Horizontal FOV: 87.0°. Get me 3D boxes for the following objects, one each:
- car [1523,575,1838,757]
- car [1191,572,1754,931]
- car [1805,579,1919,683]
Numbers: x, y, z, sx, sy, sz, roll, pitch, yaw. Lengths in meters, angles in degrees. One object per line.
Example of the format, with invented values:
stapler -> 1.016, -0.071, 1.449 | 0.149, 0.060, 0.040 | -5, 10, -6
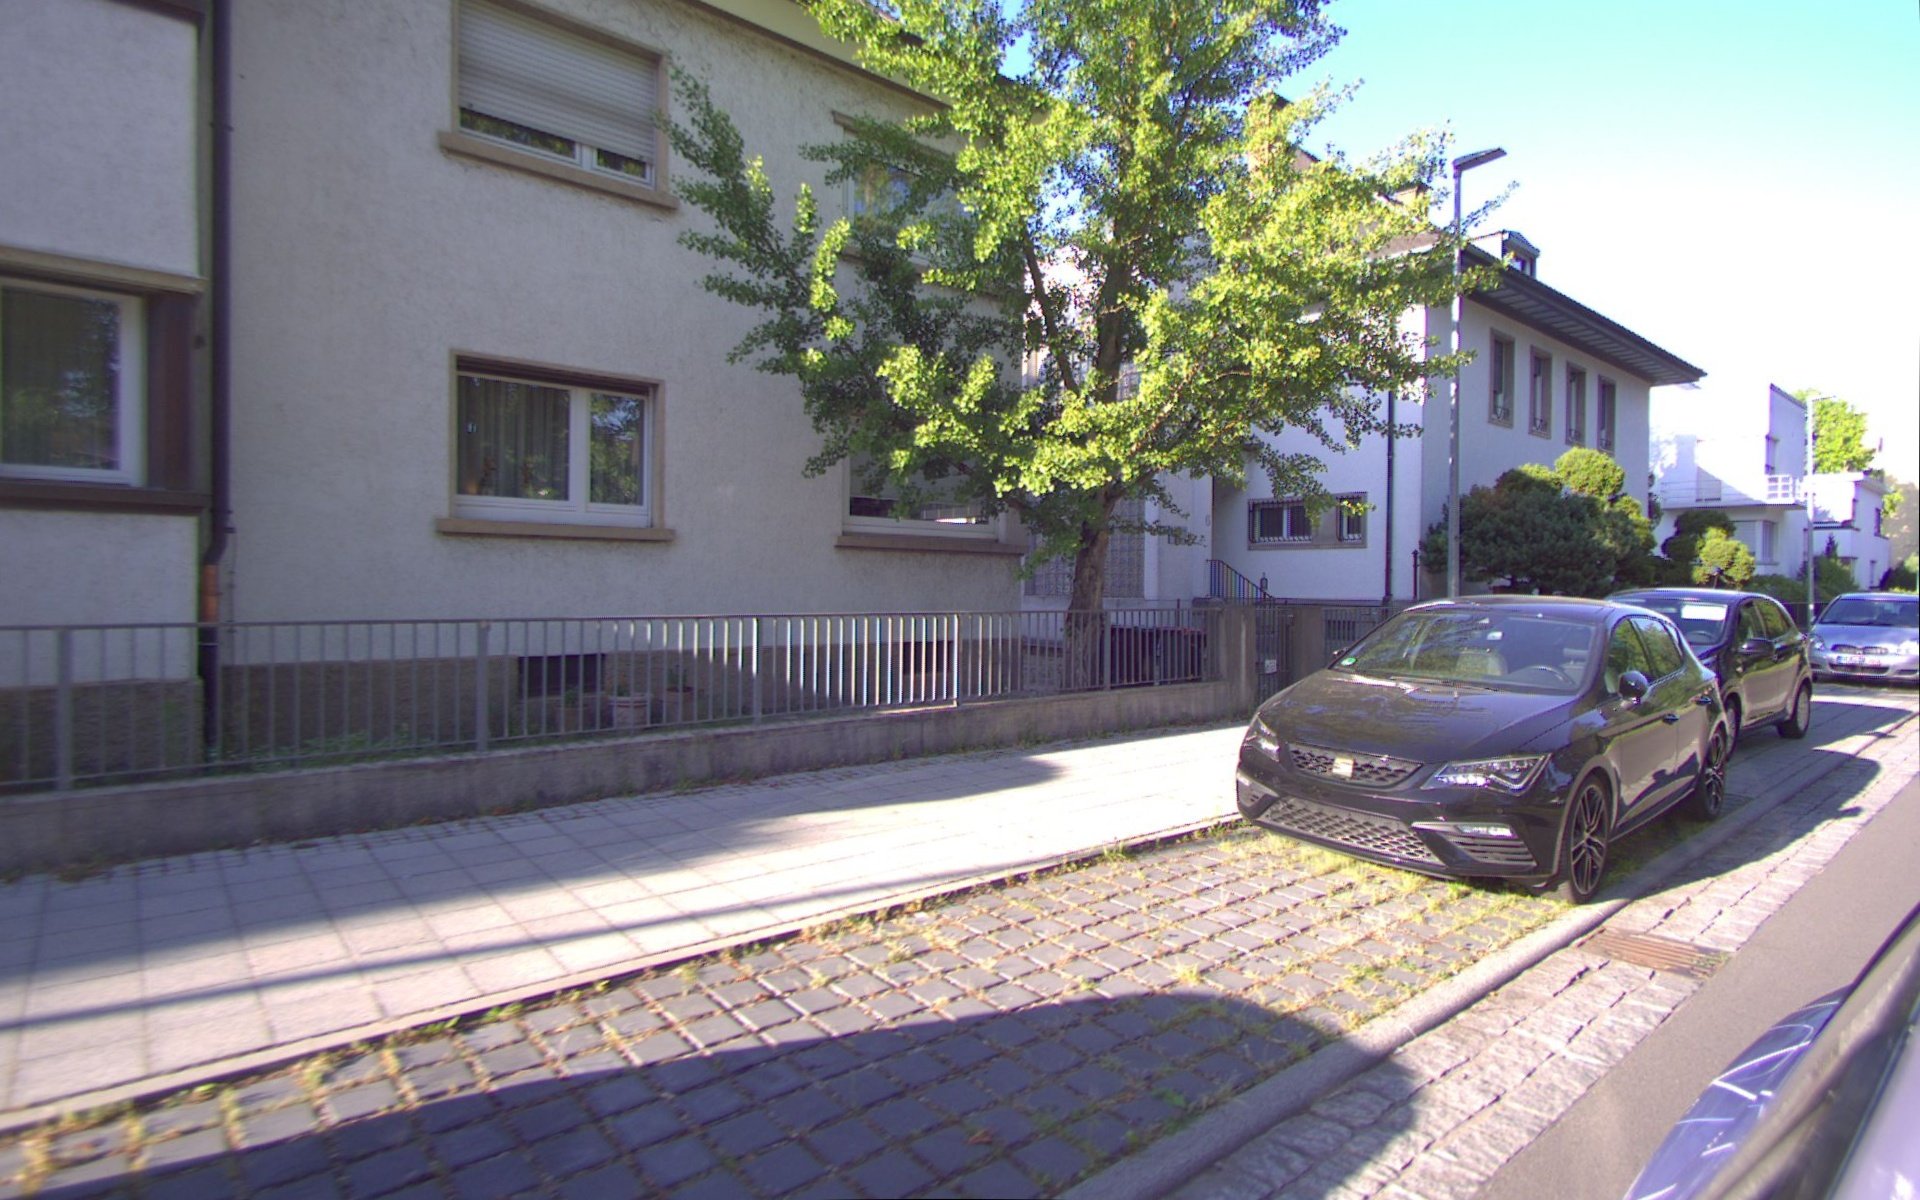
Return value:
car -> 7.294, 0.534, 10.136 | 3.696, 1.499, 1.665 | 0, 1, -39
car -> 3.329, 0.622, 6.210 | 3.986, 1.499, 1.744 | 0, 1, -42
car -> 15.747, 0.462, 17.002 | 3.764, 1.554, 1.665 | 0, 2, -39
